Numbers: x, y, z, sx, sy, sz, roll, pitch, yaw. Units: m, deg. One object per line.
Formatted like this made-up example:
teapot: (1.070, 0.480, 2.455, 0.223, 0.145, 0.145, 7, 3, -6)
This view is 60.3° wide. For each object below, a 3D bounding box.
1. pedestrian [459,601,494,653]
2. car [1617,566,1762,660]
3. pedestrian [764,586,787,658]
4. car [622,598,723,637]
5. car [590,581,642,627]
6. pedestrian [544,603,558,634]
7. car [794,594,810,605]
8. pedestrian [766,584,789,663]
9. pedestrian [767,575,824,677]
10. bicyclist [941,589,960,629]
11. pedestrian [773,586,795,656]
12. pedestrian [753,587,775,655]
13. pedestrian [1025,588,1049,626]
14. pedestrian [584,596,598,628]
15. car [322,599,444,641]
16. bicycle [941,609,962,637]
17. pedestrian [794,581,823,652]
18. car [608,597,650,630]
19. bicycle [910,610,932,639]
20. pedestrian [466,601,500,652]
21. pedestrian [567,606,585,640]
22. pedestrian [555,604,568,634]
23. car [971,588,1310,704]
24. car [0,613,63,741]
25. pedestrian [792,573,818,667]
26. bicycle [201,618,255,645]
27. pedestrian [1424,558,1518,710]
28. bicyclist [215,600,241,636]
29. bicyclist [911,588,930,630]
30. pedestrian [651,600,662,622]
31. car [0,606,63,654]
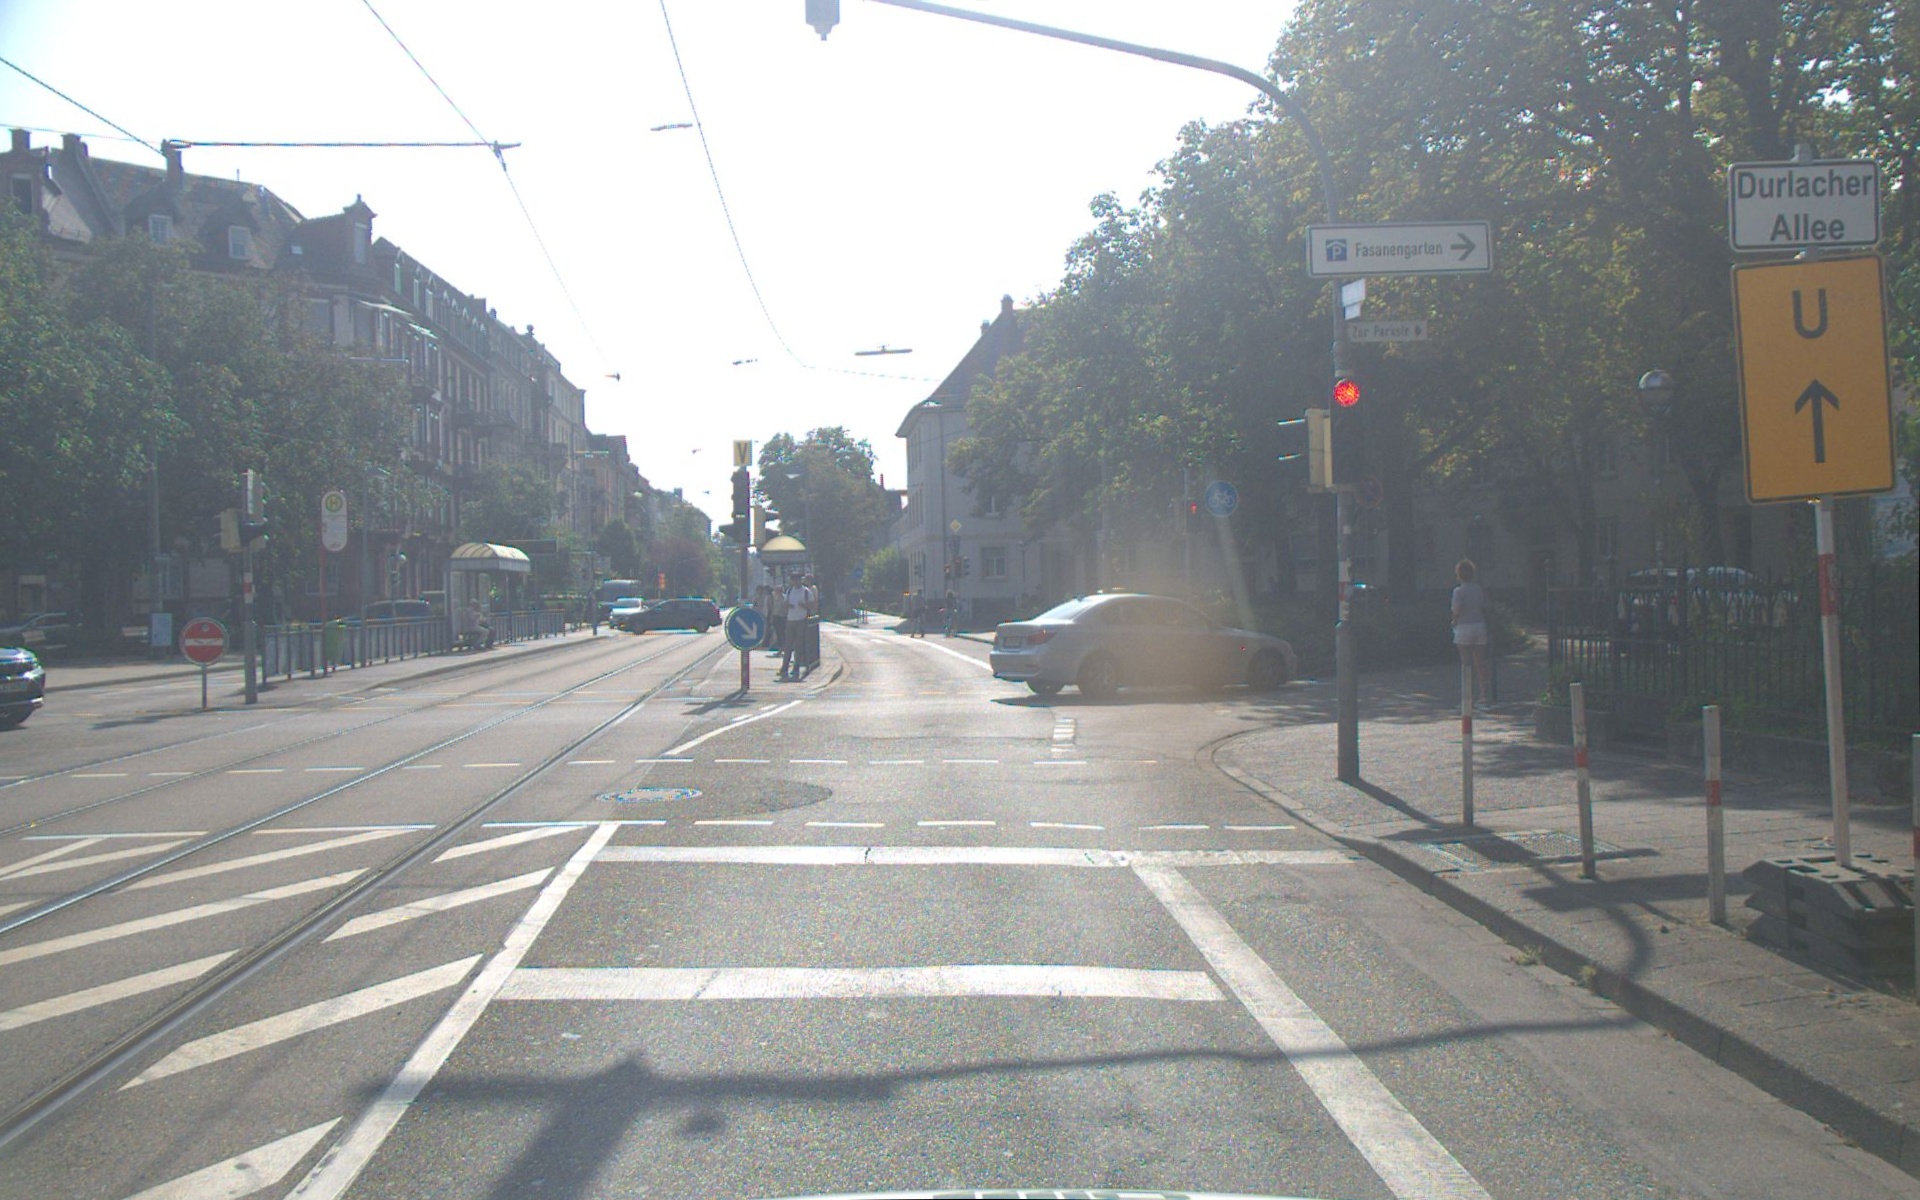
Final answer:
pedestrian: (-13.180, 0.735, 45.121, 0.812, 1.382, 0.774, -1, 0, -10)
car: (14.041, 0.209, 31.714, 1.957, 1.659, 4.322, -1, 0, 32)
pedestrian: (-4.719, 0.558, 42.260, 0.532, 1.790, 0.533, 1, 2, -5)
car: (-12.599, 0.770, 72.751, 4.241, 1.596, 1.996, -1, 0, -8)
car: (-21.567, 0.242, 103.946, 2.300, 2.708, 5.103, -1, 0, -2)
pedestrian: (-23.707, 1.091, 95.944, 0.737, 1.761, 0.769, -1, 0, -14)
car: (-24.807, -0.082, 259.979, 1.952, 1.814, 4.001, 0, 0, 1)
pedestrian: (-4.219, 0.542, 38.285, 0.494, 1.790, 0.533, 1, 2, -5)
pedestrian: (-2.930, 0.450, 29.408, 0.686, 1.755, 0.747, 2, 2, 27)
bicyclist: (-0.352, 0.340, 60.719, 0.547, 1.441, 0.870, -1, 0, -7)
pedestrian: (-4.586, 0.551, 43.084, 0.532, 1.790, 0.533, 1, 2, -5)
pedestrian: (-5.262, 0.557, 44.444, 0.522, 1.790, 0.544, 1, 2, -4)
pedestrian: (3.664, 0.345, 78.423, 0.873, 1.771, 0.776, -1, 0, 22)
pedestrian: (-20.461, 0.676, 91.742, 0.737, 1.761, 0.769, -1, 0, -14)
car: (-23.643, 0.814, 67.877, 4.300, 1.596, 1.969, -1, 0, -42)
bicycle: (-0.332, 0.829, 60.706, 0.547, 0.995, 1.853, -1, 0, -7)
pedestrian: (-3.893, 0.423, 42.527, 0.695, 1.790, 0.533, 1, 2, -5)
car: (-17.759, 0.695, 88.931, 1.766, 1.682, 3.639, -1, 0, -4)
bicycle: (-1.450, 0.900, 61.205, 0.617, 0.995, 1.767, -1, 0, -7)
pedestrian: (-13.292, 0.738, 46.091, 0.812, 1.382, 0.774, -1, 0, -10)
pedestrian: (-19.814, 1.189, 85.435, 0.735, 1.761, 0.771, -1, 0, -3)
pedestrian: (-23.920, 1.136, 99.231, 0.737, 1.761, 0.769, -1, 0, -14)
car: (2.678, 0.628, 24.426, 4.710, 1.492, 1.855, -1, 0, -25)
car: (-13.748, 0.992, 21.133, 4.126, 1.541, 1.613, -1, 1, 18)
pedestrian: (-3.156, 0.404, 33.667, 0.494, 1.865, 0.533, 1, 2, -5)
bicycle: (-28.348, 1.231, 64.085, 1.836, 0.974, 0.541, -2, 0, -37)
pedestrian: (6.066, 0.394, 19.657, 0.737, 1.761, 0.769, -1, 0, -14)
bicyclist: (-28.355, 0.706, 64.089, 0.812, 1.351, 0.541, -2, 0, -36)
bicyclist: (-1.458, 0.338, 61.203, 0.617, 1.534, 0.677, -1, 0, -7)
pedestrian: (-24.509, 0.851, 133.561, 0.737, 1.761, 0.769, -1, 0, -14)
car: (-34.022, 1.079, 58.048, 4.265, 1.596, 1.985, -1, 0, -24)
